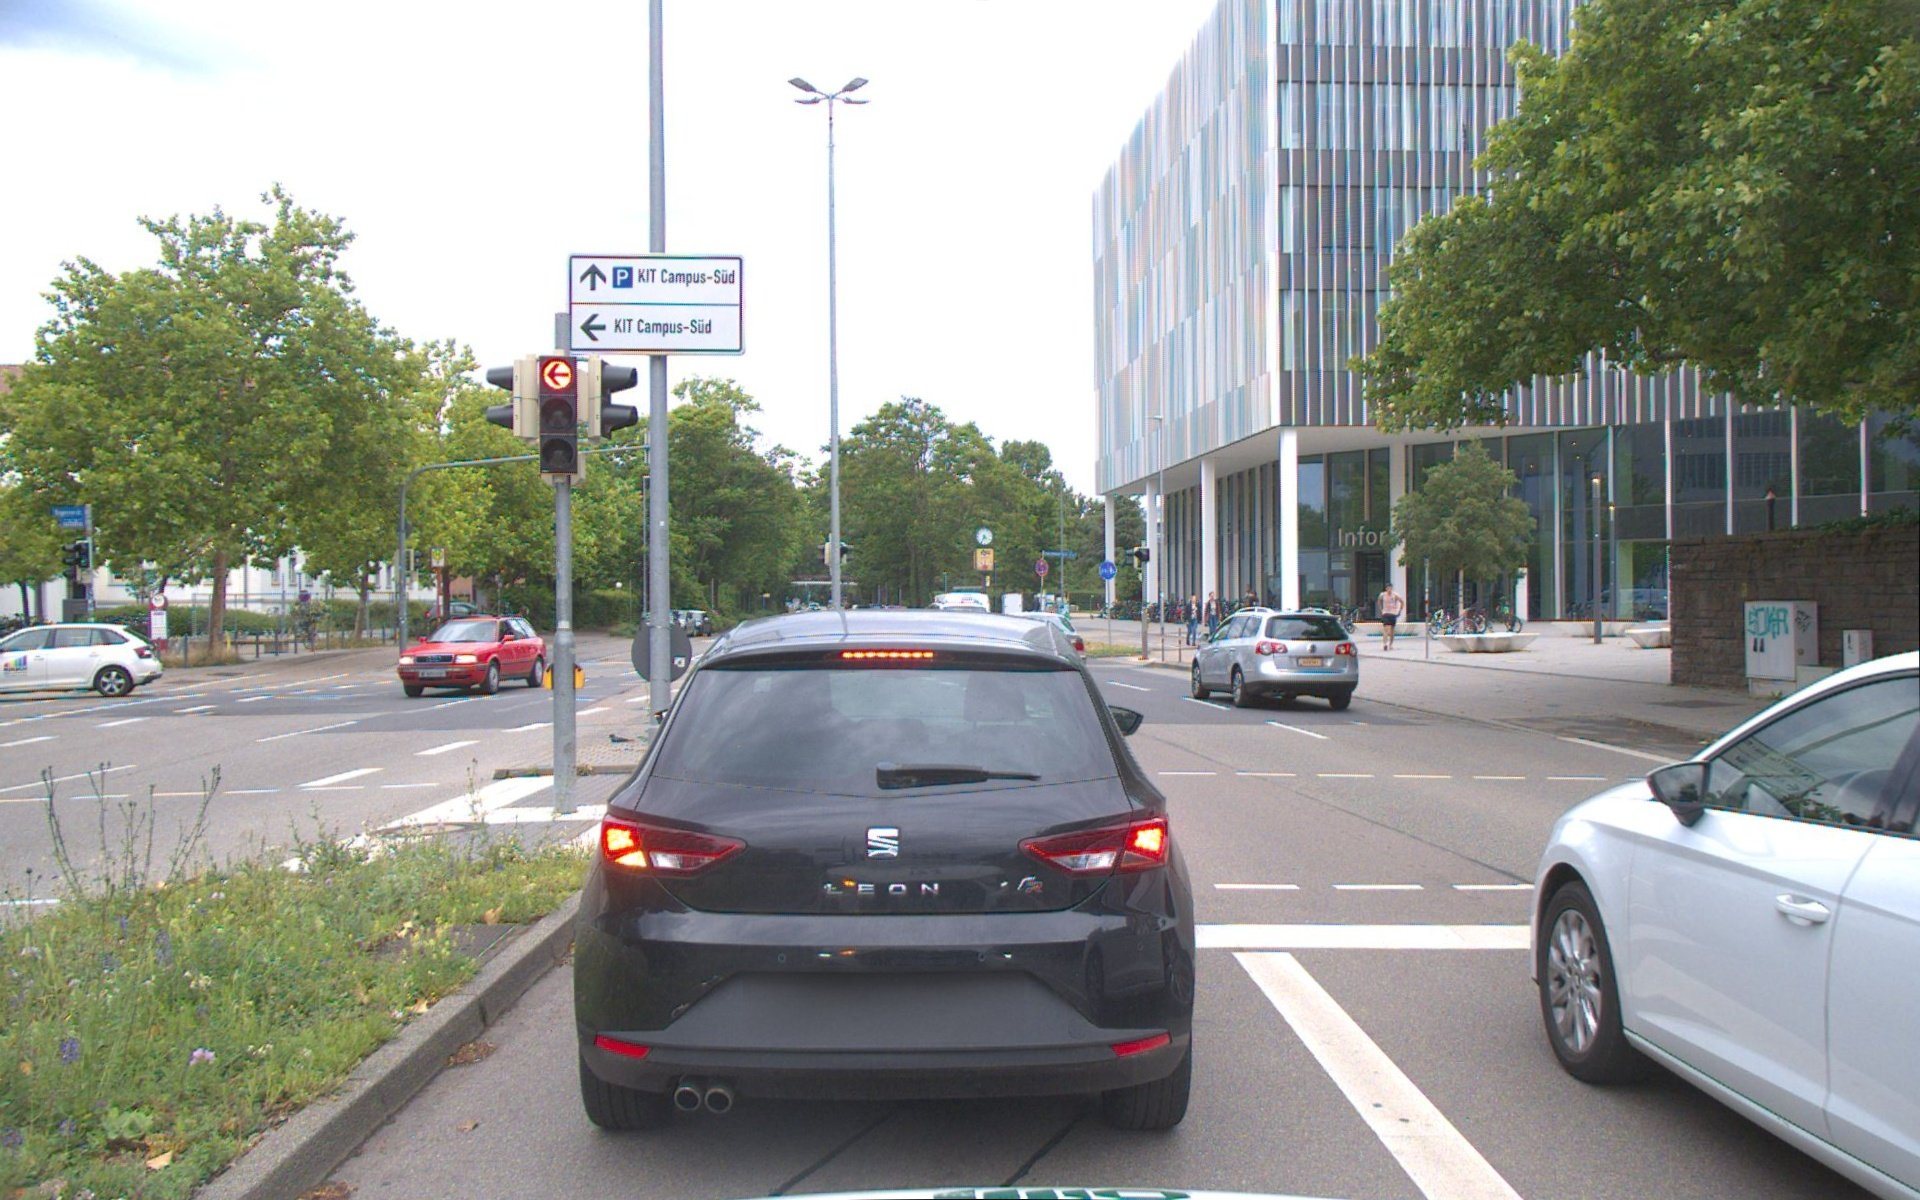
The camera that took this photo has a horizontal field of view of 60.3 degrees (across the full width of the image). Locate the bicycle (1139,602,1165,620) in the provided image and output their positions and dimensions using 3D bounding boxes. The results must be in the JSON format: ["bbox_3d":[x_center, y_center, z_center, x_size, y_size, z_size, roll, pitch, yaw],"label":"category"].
[{"bbox_3d":[10.669,0.610,91.928,1.357,0.958,0.488,-1,0,6],"label":"bicycle"}]

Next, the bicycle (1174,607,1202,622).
[{"bbox_3d":[11.680,0.756,84.779,1.346,0.717,0.416,-2,0,2],"label":"bicycle"}]

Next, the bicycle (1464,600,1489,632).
[{"bbox_3d":[18.714,0.582,59.878,0.792,1.074,1.950,-2,1,19],"label":"bicycle"}]

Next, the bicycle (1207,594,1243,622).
[{"bbox_3d":[12.482,0.367,77.913,1.758,1.232,0.563,-3,1,-35],"label":"bicycle"}]

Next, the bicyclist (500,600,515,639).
[{"bbox_3d":[-19.484,0.837,71.178,0.481,1.653,0.588,1,1,-1],"label":"bicyclist"}]

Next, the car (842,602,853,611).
[{"bbox_3d":[-15.969,0.908,234.606,1.475,1.214,3.160,-2,1,-4],"label":"car"}]

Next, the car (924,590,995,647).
[{"bbox_3d":[-0.073,0.662,62.238,1.930,2.007,4.333,1,0,-10],"label":"car"}]

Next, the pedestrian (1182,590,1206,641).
[{"bbox_3d":[7.700,0.517,54.492,0.673,1.668,0.632,0,0,-1],"label":"pedestrian"}]

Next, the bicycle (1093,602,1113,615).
[{"bbox_3d":[9.422,0.569,109.103,1.241,0.863,0.479,2,-1,-23],"label":"bicycle"}]

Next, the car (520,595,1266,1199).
[{"bbox_3d":[-0.109,0.726,5.719,1.717,1.457,3.770,1,0,1],"label":"car"}]

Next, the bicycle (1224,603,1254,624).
[{"bbox_3d":[12.840,0.623,76.211,1.421,0.872,0.361,-2,0,-28],"label":"bicycle"}]

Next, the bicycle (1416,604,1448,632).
[{"bbox_3d":[17.566,0.664,61.488,0.682,0.963,1.981,-2,1,29],"label":"bicycle"}]

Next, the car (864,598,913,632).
[{"bbox_3d":[-3.680,0.735,84.572,1.915,1.652,3.737,1,1,-13],"label":"car"}]

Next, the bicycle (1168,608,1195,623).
[{"bbox_3d":[11.552,0.786,86.156,1.345,0.717,0.489,-2,0,8],"label":"bicycle"}]

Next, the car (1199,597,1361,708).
[{"bbox_3d":[4.975,0.804,26.289,1.787,1.578,4.527,1,-1,1],"label":"car"}]

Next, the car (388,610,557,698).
[{"bbox_3d":[-9.227,0.980,31.657,1.678,1.443,4.296,-2,0,4],"label":"car"}]

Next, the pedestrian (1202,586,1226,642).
[{"bbox_3d":[8.382,0.457,54.556,0.673,1.812,0.677,0,0,-1],"label":"pedestrian"}]

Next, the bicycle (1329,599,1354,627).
[{"bbox_3d":[15.542,0.513,67.413,0.607,1.064,1.704,-2,1,25],"label":"bicycle"}]

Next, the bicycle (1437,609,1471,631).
[{"bbox_3d":[18.200,0.745,60.913,1.515,0.728,0.511,-3,1,-44],"label":"bicycle"}]

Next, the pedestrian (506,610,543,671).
[{"bbox_3d":[-12.041,1.112,45.711,0.858,1.614,0.542,-2,0,-8],"label":"pedestrian"}]

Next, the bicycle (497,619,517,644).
[{"bbox_3d":[-19.494,1.358,71.193,0.478,1.023,1.590,1,1,-1],"label":"bicycle"}]

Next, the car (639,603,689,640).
[{"bbox_3d":[-15.359,1.104,86.063,1.868,1.747,3.999,-2,1,-1],"label":"car"}]

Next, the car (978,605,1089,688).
[{"bbox_3d":[1.359,0.847,32.189,1.688,1.439,4.242,1,1,-4],"label":"car"}]

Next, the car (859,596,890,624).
[{"bbox_3d":[-5.684,0.636,109.108,1.877,1.693,4.110,-2,1,-5],"label":"car"}]

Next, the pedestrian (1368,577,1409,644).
[{"bbox_3d":[11.673,0.284,45.070,0.830,1.795,0.767,-2,0,-1],"label":"pedestrian"}]

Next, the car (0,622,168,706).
[{"bbox_3d":[-17.883,1.250,32.353,4.156,1.456,1.699,-2,1,-23],"label":"car"}]

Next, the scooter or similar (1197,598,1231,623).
[{"bbox_3d":[12.074,0.496,78.485,1.655,1.126,0.493,-2,0,-33],"label":"scooter or similar"}]

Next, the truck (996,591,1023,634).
[{"bbox_3d":[2.764,0.673,92.858,1.291,2.282,3.401,-2,0,-1],"label":"truck"}]

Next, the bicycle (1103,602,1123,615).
[{"bbox_3d":[9.921,0.542,107.003,1.218,0.837,0.479,2,-1,-23],"label":"bicycle"}]

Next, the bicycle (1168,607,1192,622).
[{"bbox_3d":[11.586,0.766,87.049,1.213,0.717,0.489,-2,0,8],"label":"bicycle"}]

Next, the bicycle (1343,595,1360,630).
[{"bbox_3d":[15.291,0.485,64.616,0.515,1.275,1.667,-2,0,17],"label":"bicycle"}]

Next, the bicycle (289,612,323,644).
[{"bbox_3d":[-23.370,0.977,59.163,0.596,1.079,2.041,-2,1,-7],"label":"bicycle"}]

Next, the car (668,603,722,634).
[{"bbox_3d":[-15.410,1.067,96.276,1.721,1.615,4.004,-2,1,12],"label":"car"}]

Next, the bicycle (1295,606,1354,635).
[{"bbox_3d":[12.424,0.691,56.375,1.860,0.914,0.693,-2,0,-22],"label":"bicycle"}]

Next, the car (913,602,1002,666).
[{"bbox_3d":[-0.120,0.887,44.822,1.698,1.631,4.094,0,0,-11],"label":"car"}]

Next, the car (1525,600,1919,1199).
[{"bbox_3d":[2.851,0.749,3.700,1.745,1.488,3.869,0,0,-2],"label":"car"}]

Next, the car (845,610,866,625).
[{"bbox_3d":[-10.088,1.678,159.350,1.861,1.377,3.879,-2,1,-4],"label":"car"}]

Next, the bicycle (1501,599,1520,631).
[{"bbox_3d":[19.619,0.531,58.967,0.609,1.074,1.950,-2,1,19],"label":"bicycle"}]

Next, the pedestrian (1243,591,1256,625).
[{"bbox_3d":[12.054,0.347,68.894,0.462,1.385,0.446,-2,0,9],"label":"pedestrian"}]

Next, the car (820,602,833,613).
[{"bbox_3d":[-18.569,1.050,230.097,1.663,1.530,4.003,-2,1,-7],"label":"car"}]
